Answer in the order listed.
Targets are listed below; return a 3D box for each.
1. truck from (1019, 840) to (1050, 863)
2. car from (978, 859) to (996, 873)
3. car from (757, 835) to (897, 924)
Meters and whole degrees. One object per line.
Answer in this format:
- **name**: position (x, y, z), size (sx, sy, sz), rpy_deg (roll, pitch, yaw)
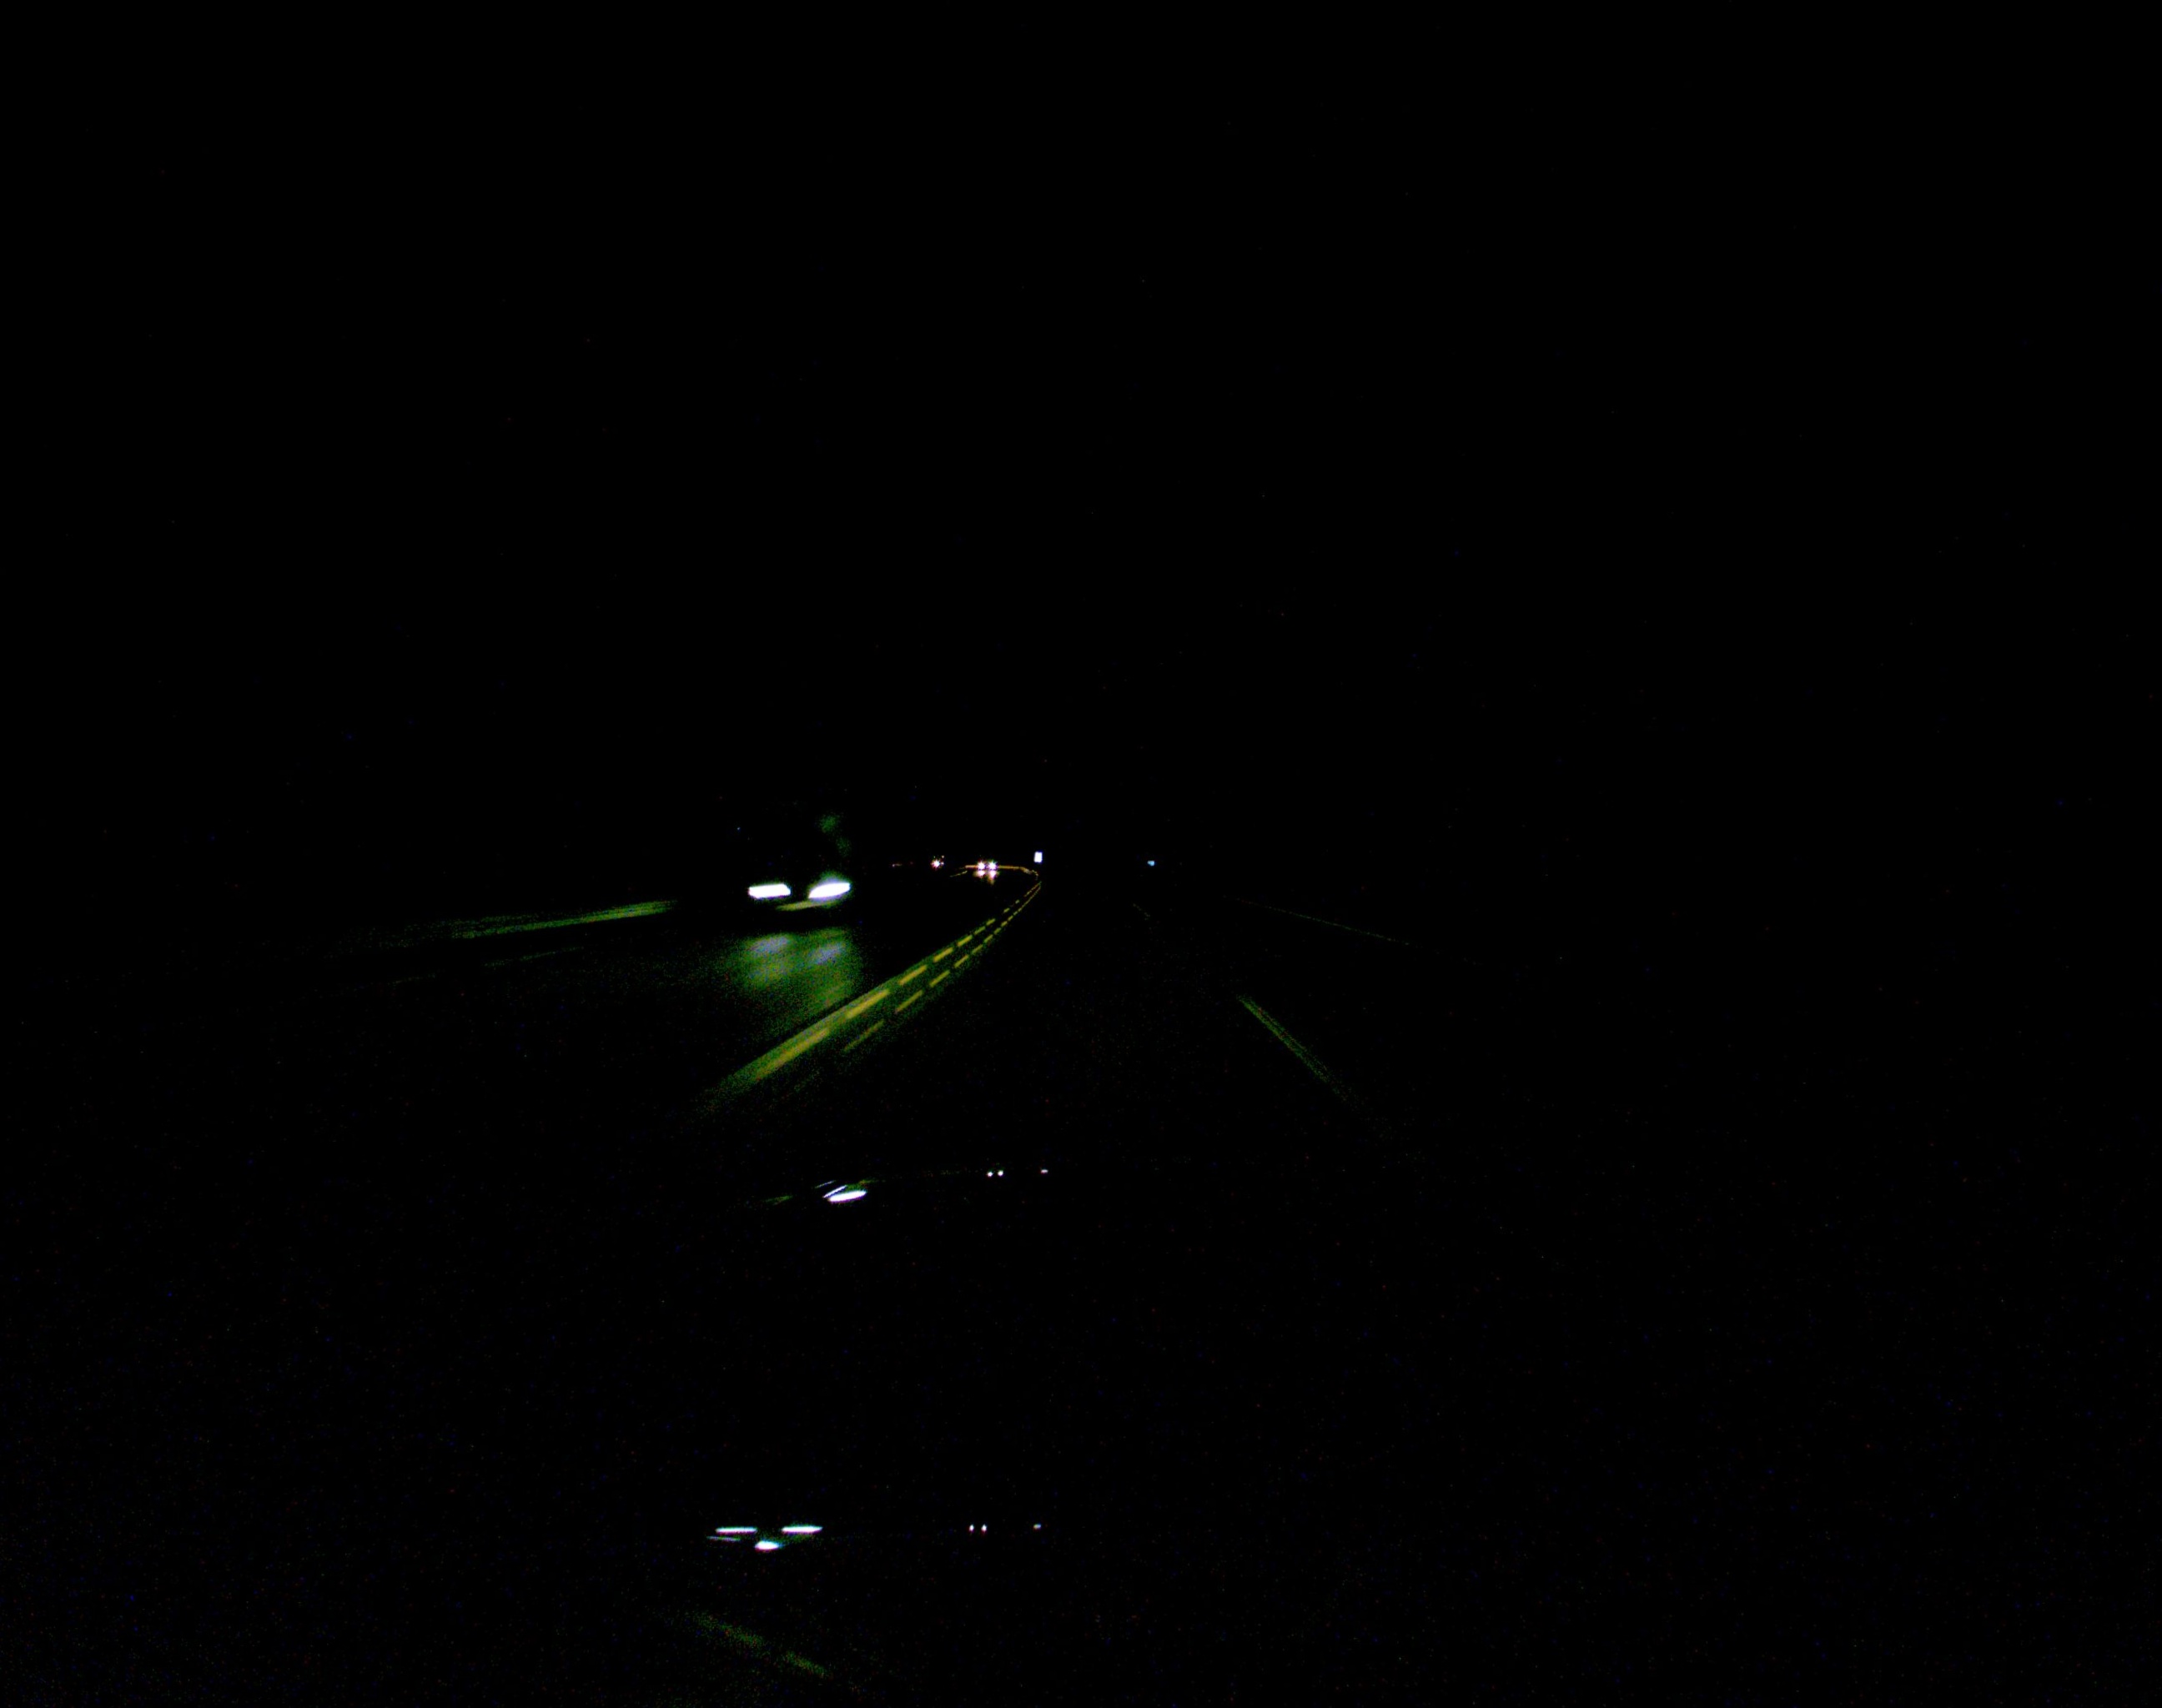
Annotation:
- **truck**: position (-10.301, -0.399, 179.487), size (4.019, 4.552, 13.881), rpy_deg (-2, -1, -15)
- **car**: position (-12.038, 1.576, 104.056), size (1.994, 1.640, 3.986), rpy_deg (-2, -1, -10)
- **car**: position (-6.432, 0.586, 21.371), size (1.988, 2.013, 5.584), rpy_deg (0, 0, -1)
